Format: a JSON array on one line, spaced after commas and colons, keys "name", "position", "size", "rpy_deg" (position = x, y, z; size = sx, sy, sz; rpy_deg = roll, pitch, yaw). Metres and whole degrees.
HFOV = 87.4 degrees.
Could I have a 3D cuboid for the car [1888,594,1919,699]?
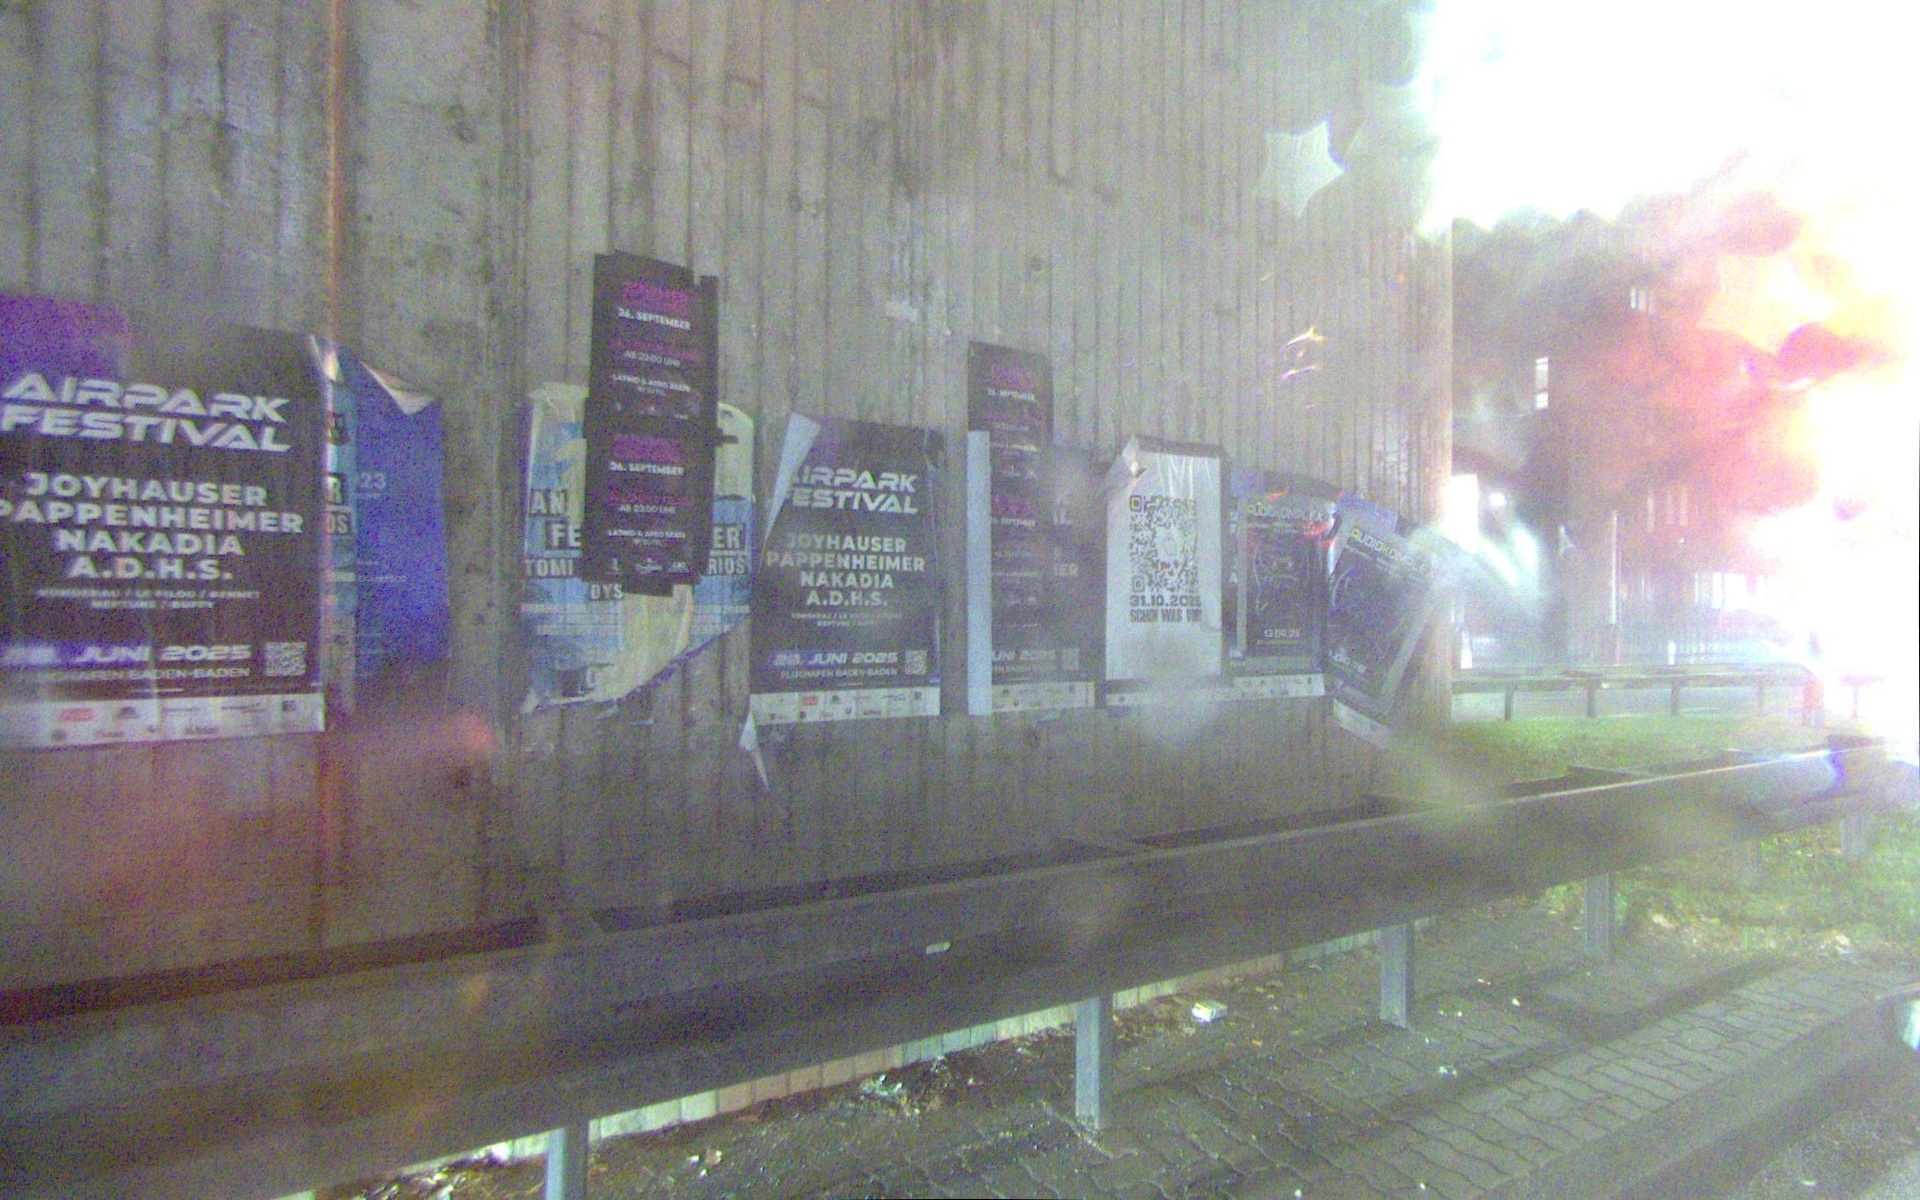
[{"name": "car", "position": [18.366, 0.841, 16.000], "size": [4.825, 1.764, 1.970], "rpy_deg": [2, 0, 24]}]
